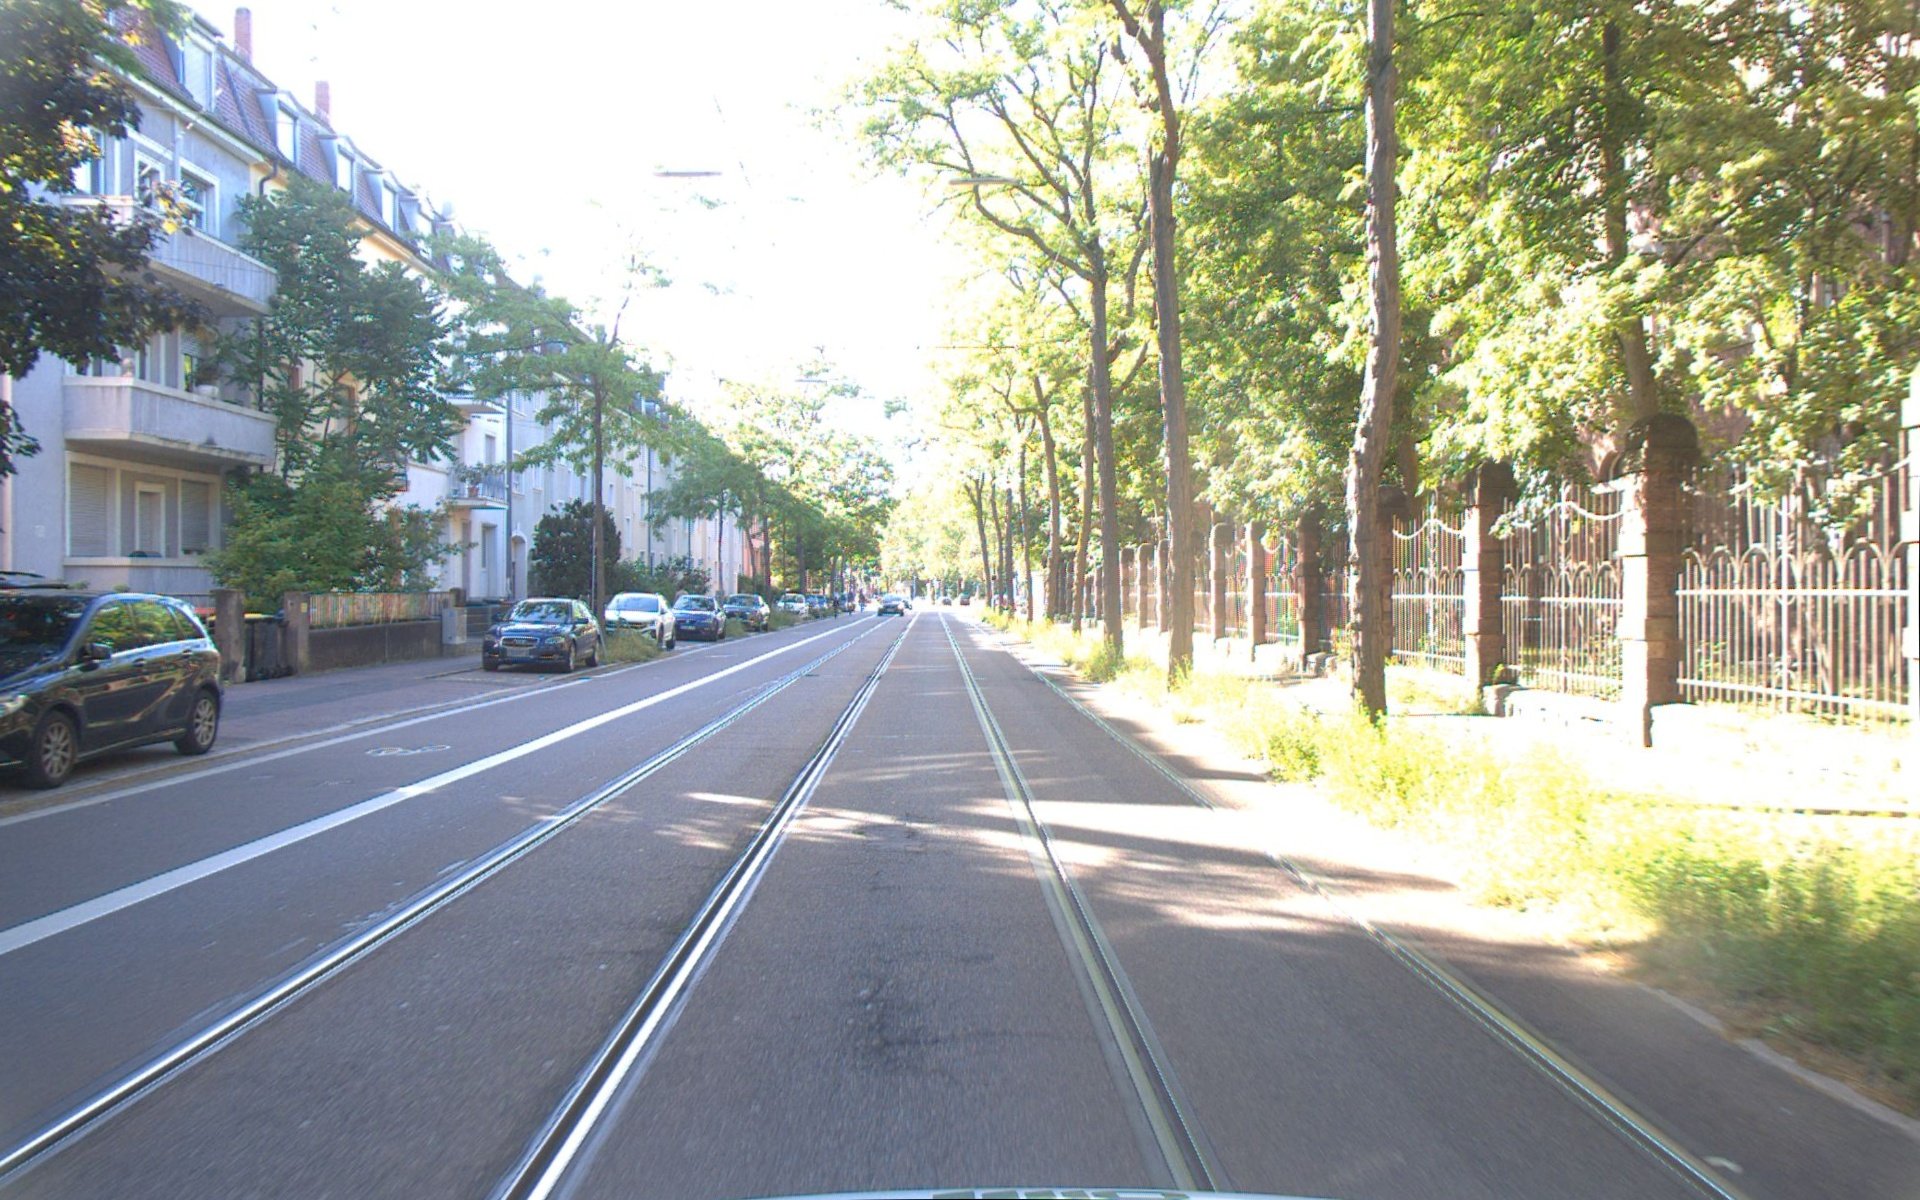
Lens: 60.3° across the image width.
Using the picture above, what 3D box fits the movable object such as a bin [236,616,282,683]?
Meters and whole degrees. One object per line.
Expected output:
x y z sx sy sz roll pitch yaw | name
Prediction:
-11.521 0.802 27.190 0.536 1.084 0.510 0 0 -1 | movable object such as a bin

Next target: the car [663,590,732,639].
-8.775 0.468 55.528 1.722 1.537 4.437 1 0 -2 | car

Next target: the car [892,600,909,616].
-5.795 0.787 160.445 1.665 1.464 4.070 1 0 -2 | car

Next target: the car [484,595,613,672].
-8.353 0.644 33.908 1.671 1.431 4.332 1 0 -2 | car

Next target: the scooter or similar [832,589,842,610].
-7.809 -0.012 105.288 0.510 1.320 1.377 -3 0 -1 | scooter or similar

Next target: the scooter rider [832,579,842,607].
-7.833 -0.431 105.277 0.486 1.729 0.786 -3 0 -1 | scooter rider

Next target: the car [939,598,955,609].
-1.889 0.479 238.710 1.905 1.638 3.995 0 0 -6 | car

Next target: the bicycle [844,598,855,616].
-7.976 0.502 119.196 0.614 1.198 1.913 -2 0 -1 | bicycle

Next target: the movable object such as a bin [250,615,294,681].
-11.524 0.799 27.714 0.536 1.084 0.510 0 0 -1 | movable object such as a bin

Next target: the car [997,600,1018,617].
4.655 0.813 163.640 1.802 1.684 3.577 0 0 -3 | car

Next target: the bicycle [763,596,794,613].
-14.214 0.374 129.451 2.236 1.219 0.560 3 1 6 | bicycle

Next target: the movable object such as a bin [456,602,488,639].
-14.435 0.608 48.943 0.693 1.064 0.733 2 0 2 | movable object such as a bin

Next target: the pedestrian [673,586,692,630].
-11.555 0.331 68.839 0.677 1.833 0.813 0 0 -1 | pedestrian

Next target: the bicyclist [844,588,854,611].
-7.998 -0.040 119.086 0.613 1.667 0.940 -2 0 -1 | bicyclist

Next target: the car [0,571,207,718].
-11.749 0.494 20.283 4.082 1.688 1.982 1 0 -3 | car

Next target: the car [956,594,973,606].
0.580 0.039 224.245 1.905 1.638 3.994 0 0 -6 | car

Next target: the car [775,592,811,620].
-9.555 0.333 95.024 1.668 1.511 4.078 3 0 -1 | car

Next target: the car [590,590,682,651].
-8.794 0.527 45.208 1.780 1.537 4.369 1 0 -2 | car

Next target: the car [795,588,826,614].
-9.291 0.078 103.247 1.653 1.511 3.758 3 0 -2 | car

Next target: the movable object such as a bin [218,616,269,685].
-11.510 0.805 26.590 0.530 1.084 0.670 0 0 -1 | movable object such as a bin

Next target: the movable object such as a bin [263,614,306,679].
-11.529 0.790 28.232 0.526 1.084 0.510 0 0 -1 | movable object such as a bin

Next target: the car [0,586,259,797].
-8.067 0.681 14.761 1.740 1.568 4.484 1 0 -1 | car

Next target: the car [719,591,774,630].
-8.842 0.415 68.708 1.780 1.511 4.205 1 0 -1 | car

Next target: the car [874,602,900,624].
-5.015 0.862 113.466 1.722 1.464 4.521 1 0 -2 | car
